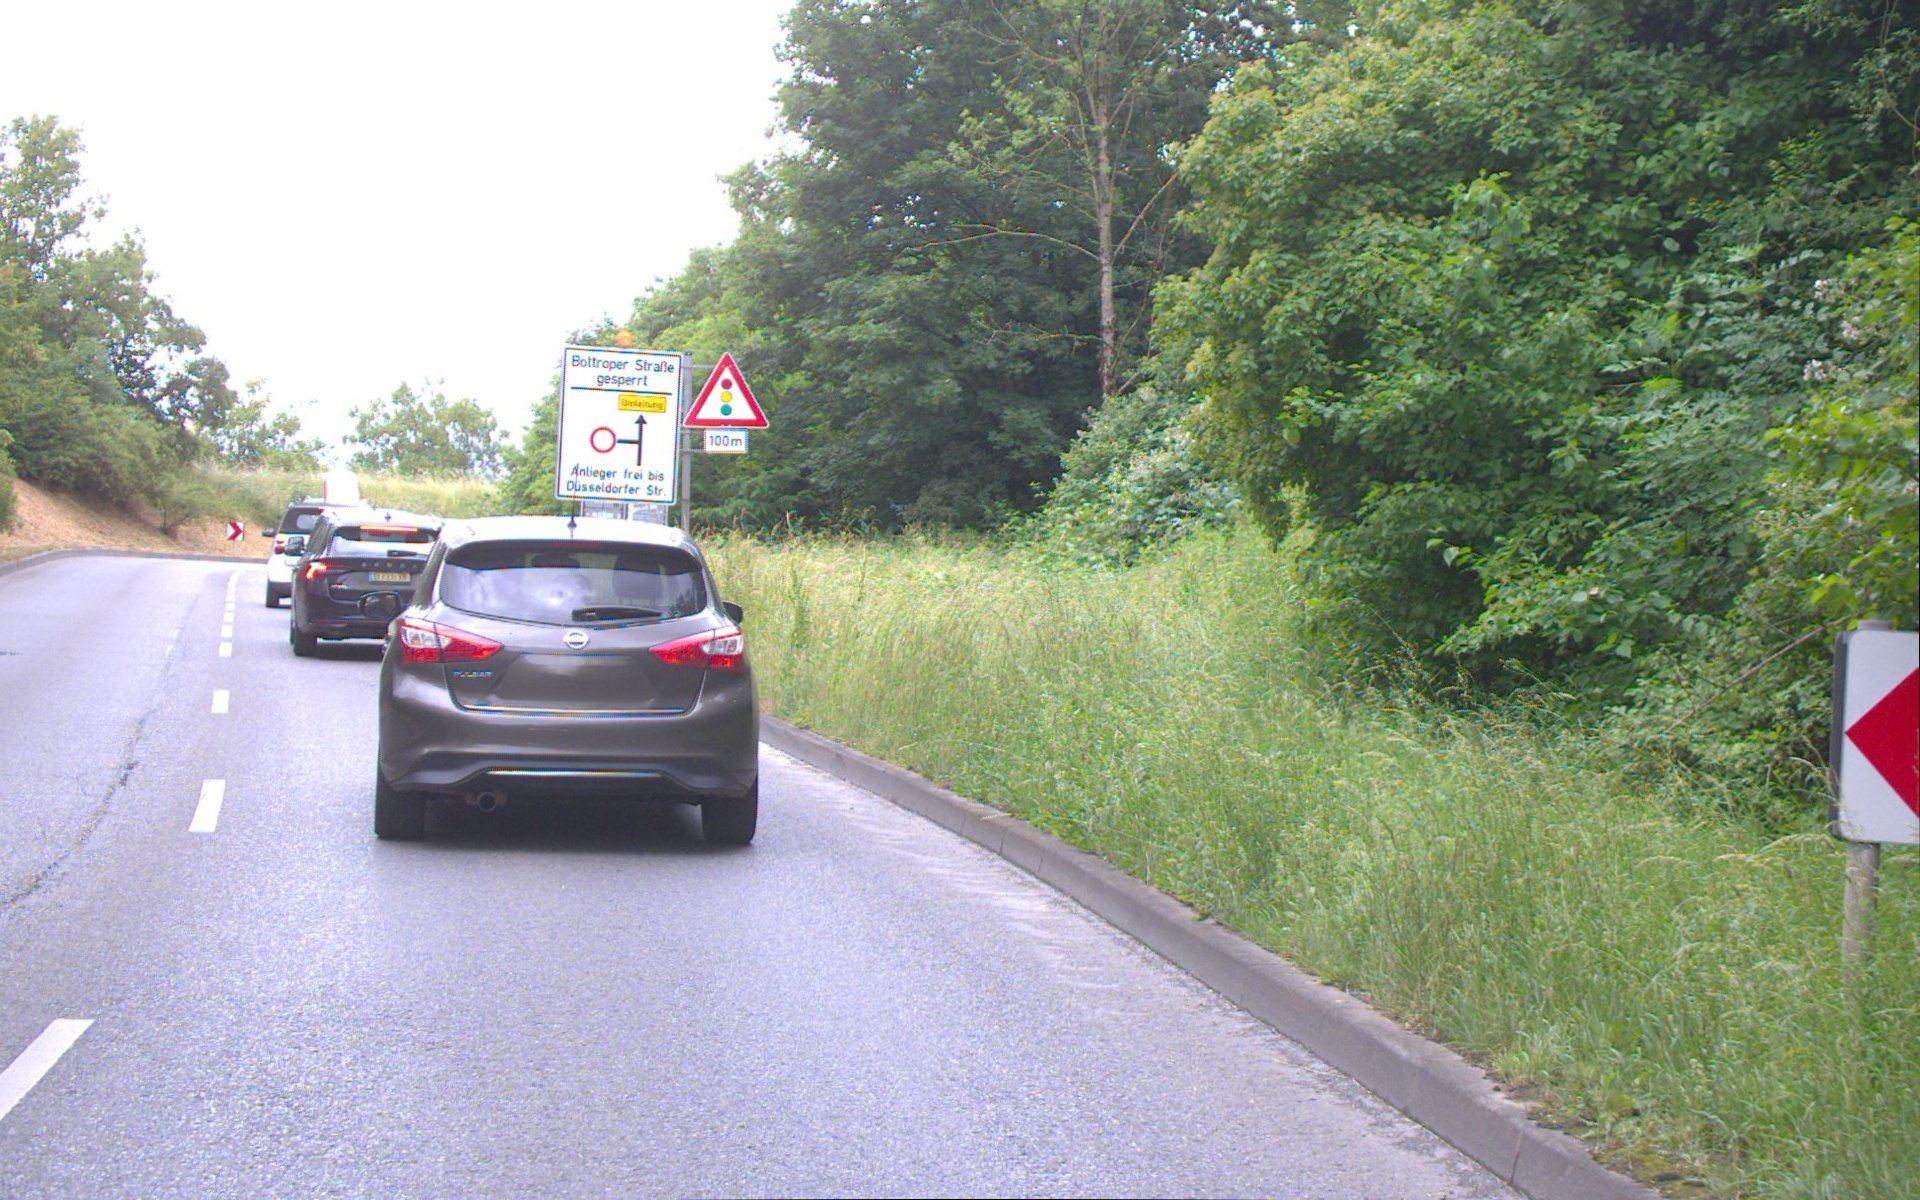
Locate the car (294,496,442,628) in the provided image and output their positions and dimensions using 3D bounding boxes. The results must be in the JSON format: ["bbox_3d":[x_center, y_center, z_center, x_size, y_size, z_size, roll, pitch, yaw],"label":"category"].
[{"bbox_3d":[-7.432,-0.505,42.975,1.735,1.551,3.545,1,2,-11],"label":"car"}]

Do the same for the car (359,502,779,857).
[{"bbox_3d":[-2.031,0.313,17.026,1.830,1.551,3.500,1,1,-10],"label":"car"}]

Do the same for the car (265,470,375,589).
[{"bbox_3d":[-10.798,-1.202,57.930,1.735,1.928,3.545,1,1,-11],"label":"car"}]

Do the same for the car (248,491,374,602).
[{"bbox_3d":[-9.530,-0.807,50.499,1.735,1.551,3.545,1,2,-11],"label":"car"}]

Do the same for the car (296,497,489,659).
[{"bbox_3d":[-5.840,-0.261,35.139,1.830,1.551,3.626,1,2,-11],"label":"car"}]
